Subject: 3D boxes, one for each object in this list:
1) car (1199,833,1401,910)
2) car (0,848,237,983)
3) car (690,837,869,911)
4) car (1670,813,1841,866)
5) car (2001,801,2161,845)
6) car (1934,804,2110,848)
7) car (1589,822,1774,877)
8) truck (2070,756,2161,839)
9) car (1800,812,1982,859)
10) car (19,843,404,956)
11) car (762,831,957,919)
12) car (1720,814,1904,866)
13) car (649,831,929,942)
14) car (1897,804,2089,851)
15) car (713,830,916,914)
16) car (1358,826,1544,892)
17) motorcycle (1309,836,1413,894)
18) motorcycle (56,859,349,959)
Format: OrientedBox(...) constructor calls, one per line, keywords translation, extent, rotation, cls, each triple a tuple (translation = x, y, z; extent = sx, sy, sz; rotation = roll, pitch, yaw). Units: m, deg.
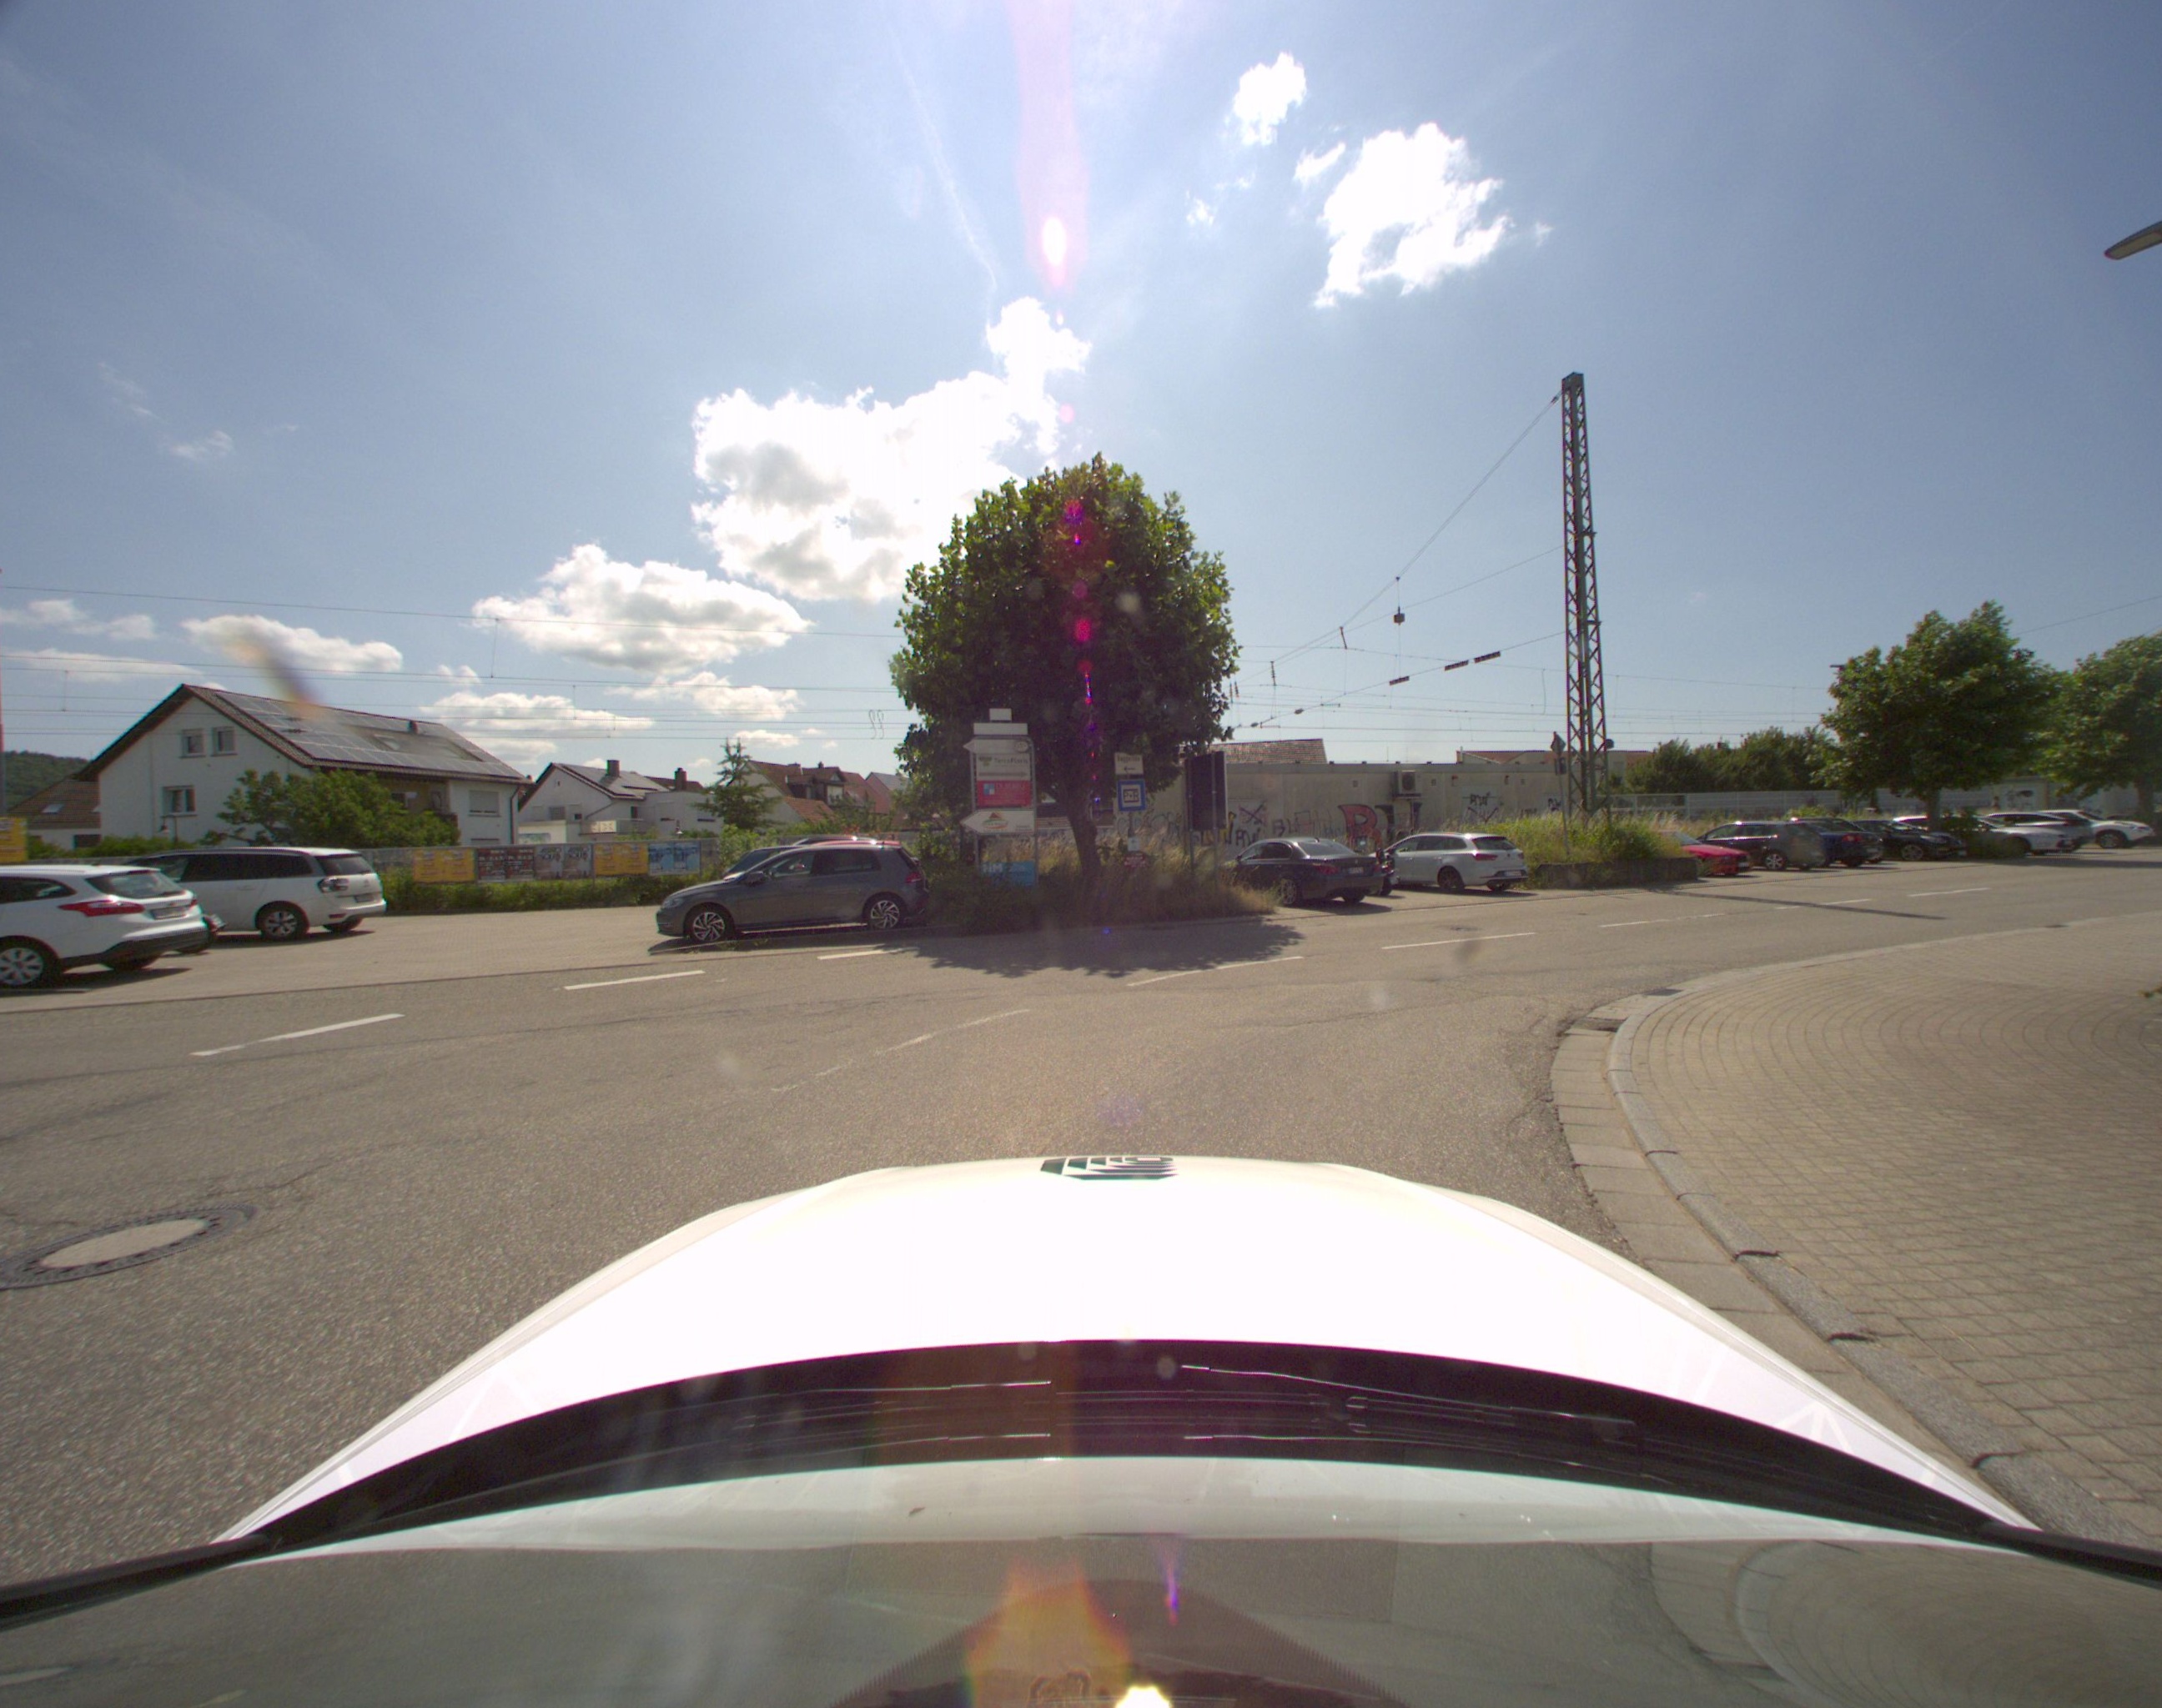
OrientedBox(translation=(4.617, 0.340, 17.858), extent=(1.791, 1.410, 4.402), rotation=(-2, 1, -26), cls="car")
OrientedBox(translation=(-14.026, 0.791, 10.275), extent=(4.261, 1.564, 1.798), rotation=(-2, 0, -19), cls="car")
OrientedBox(translation=(-7.557, 0.455, 20.856), extent=(4.081, 1.637, 1.990), rotation=(-2, 0, -16), cls="car")
OrientedBox(translation=(20.413, -0.485, 24.821), extent=(1.686, 1.447, 3.651), rotation=(-2, 3, -22), cls="car")
OrientedBox(translation=(40.605, -1.228, 33.056), extent=(1.854, 1.618, 3.951), rotation=(-2, 1, -24), cls="car")
OrientedBox(translation=(35.623, -1.041, 30.953), extent=(2.002, 1.547, 3.970), rotation=(-2, 1, -23), cls="car")
OrientedBox(translation=(17.212, -0.162, 23.597), extent=(1.674, 1.368, 4.059), rotation=(-4, 2, -20), cls="car")
OrientedBox(translation=(51.999, -2.732, 38.207), extent=(2.667, 3.822, 6.586), rotation=(-2, 1, -22), cls="truck")
OrientedBox(translation=(27.730, -0.603, 28.050), extent=(1.787, 1.472, 4.058), rotation=(-2, 1, -20), cls="car")
OrientedBox(translation=(-15.386, 0.719, 14.751), extent=(4.256, 1.657, 1.990), rotation=(-2, 2, -15), cls="car")
OrientedBox(translation=(-4.436, 0.374, 16.553), extent=(3.573, 1.536, 1.788), rotation=(-2, 0, -15), cls="car")
OrientedBox(translation=(22.753, -0.434, 25.552), extent=(1.785, 1.450, 3.936), rotation=(-2, 1, -16), cls="car")
OrientedBox(translation=(-4.639, 0.468, 13.442), extent=(4.056, 1.530, 1.682), rotation=(-2, 0, -15), cls="car")
OrientedBox(translation=(33.194, -0.954, 29.821), extent=(1.927, 1.532, 4.322), rotation=(-3, 2, -21), cls="car")
OrientedBox(translation=(-5.868, 0.356, 18.371), extent=(4.080, 1.637, 1.990), rotation=(-2, 0, -15), cls="car")
OrientedBox(translation=(8.959, 0.061, 20.115), extent=(1.789, 1.401, 4.056), rotation=(-2, 2, -23), cls="car")
OrientedBox(translation=(6.629, 0.248, 19.484), extent=(0.718, 1.281, 2.713), rotation=(-2, 1, -22), cls="motorcycle")
OrientedBox(translation=(-13.935, 0.835, 13.054), extent=(3.211, 1.373, 0.735), rotation=(-2, 0, -17), cls="motorcycle")
